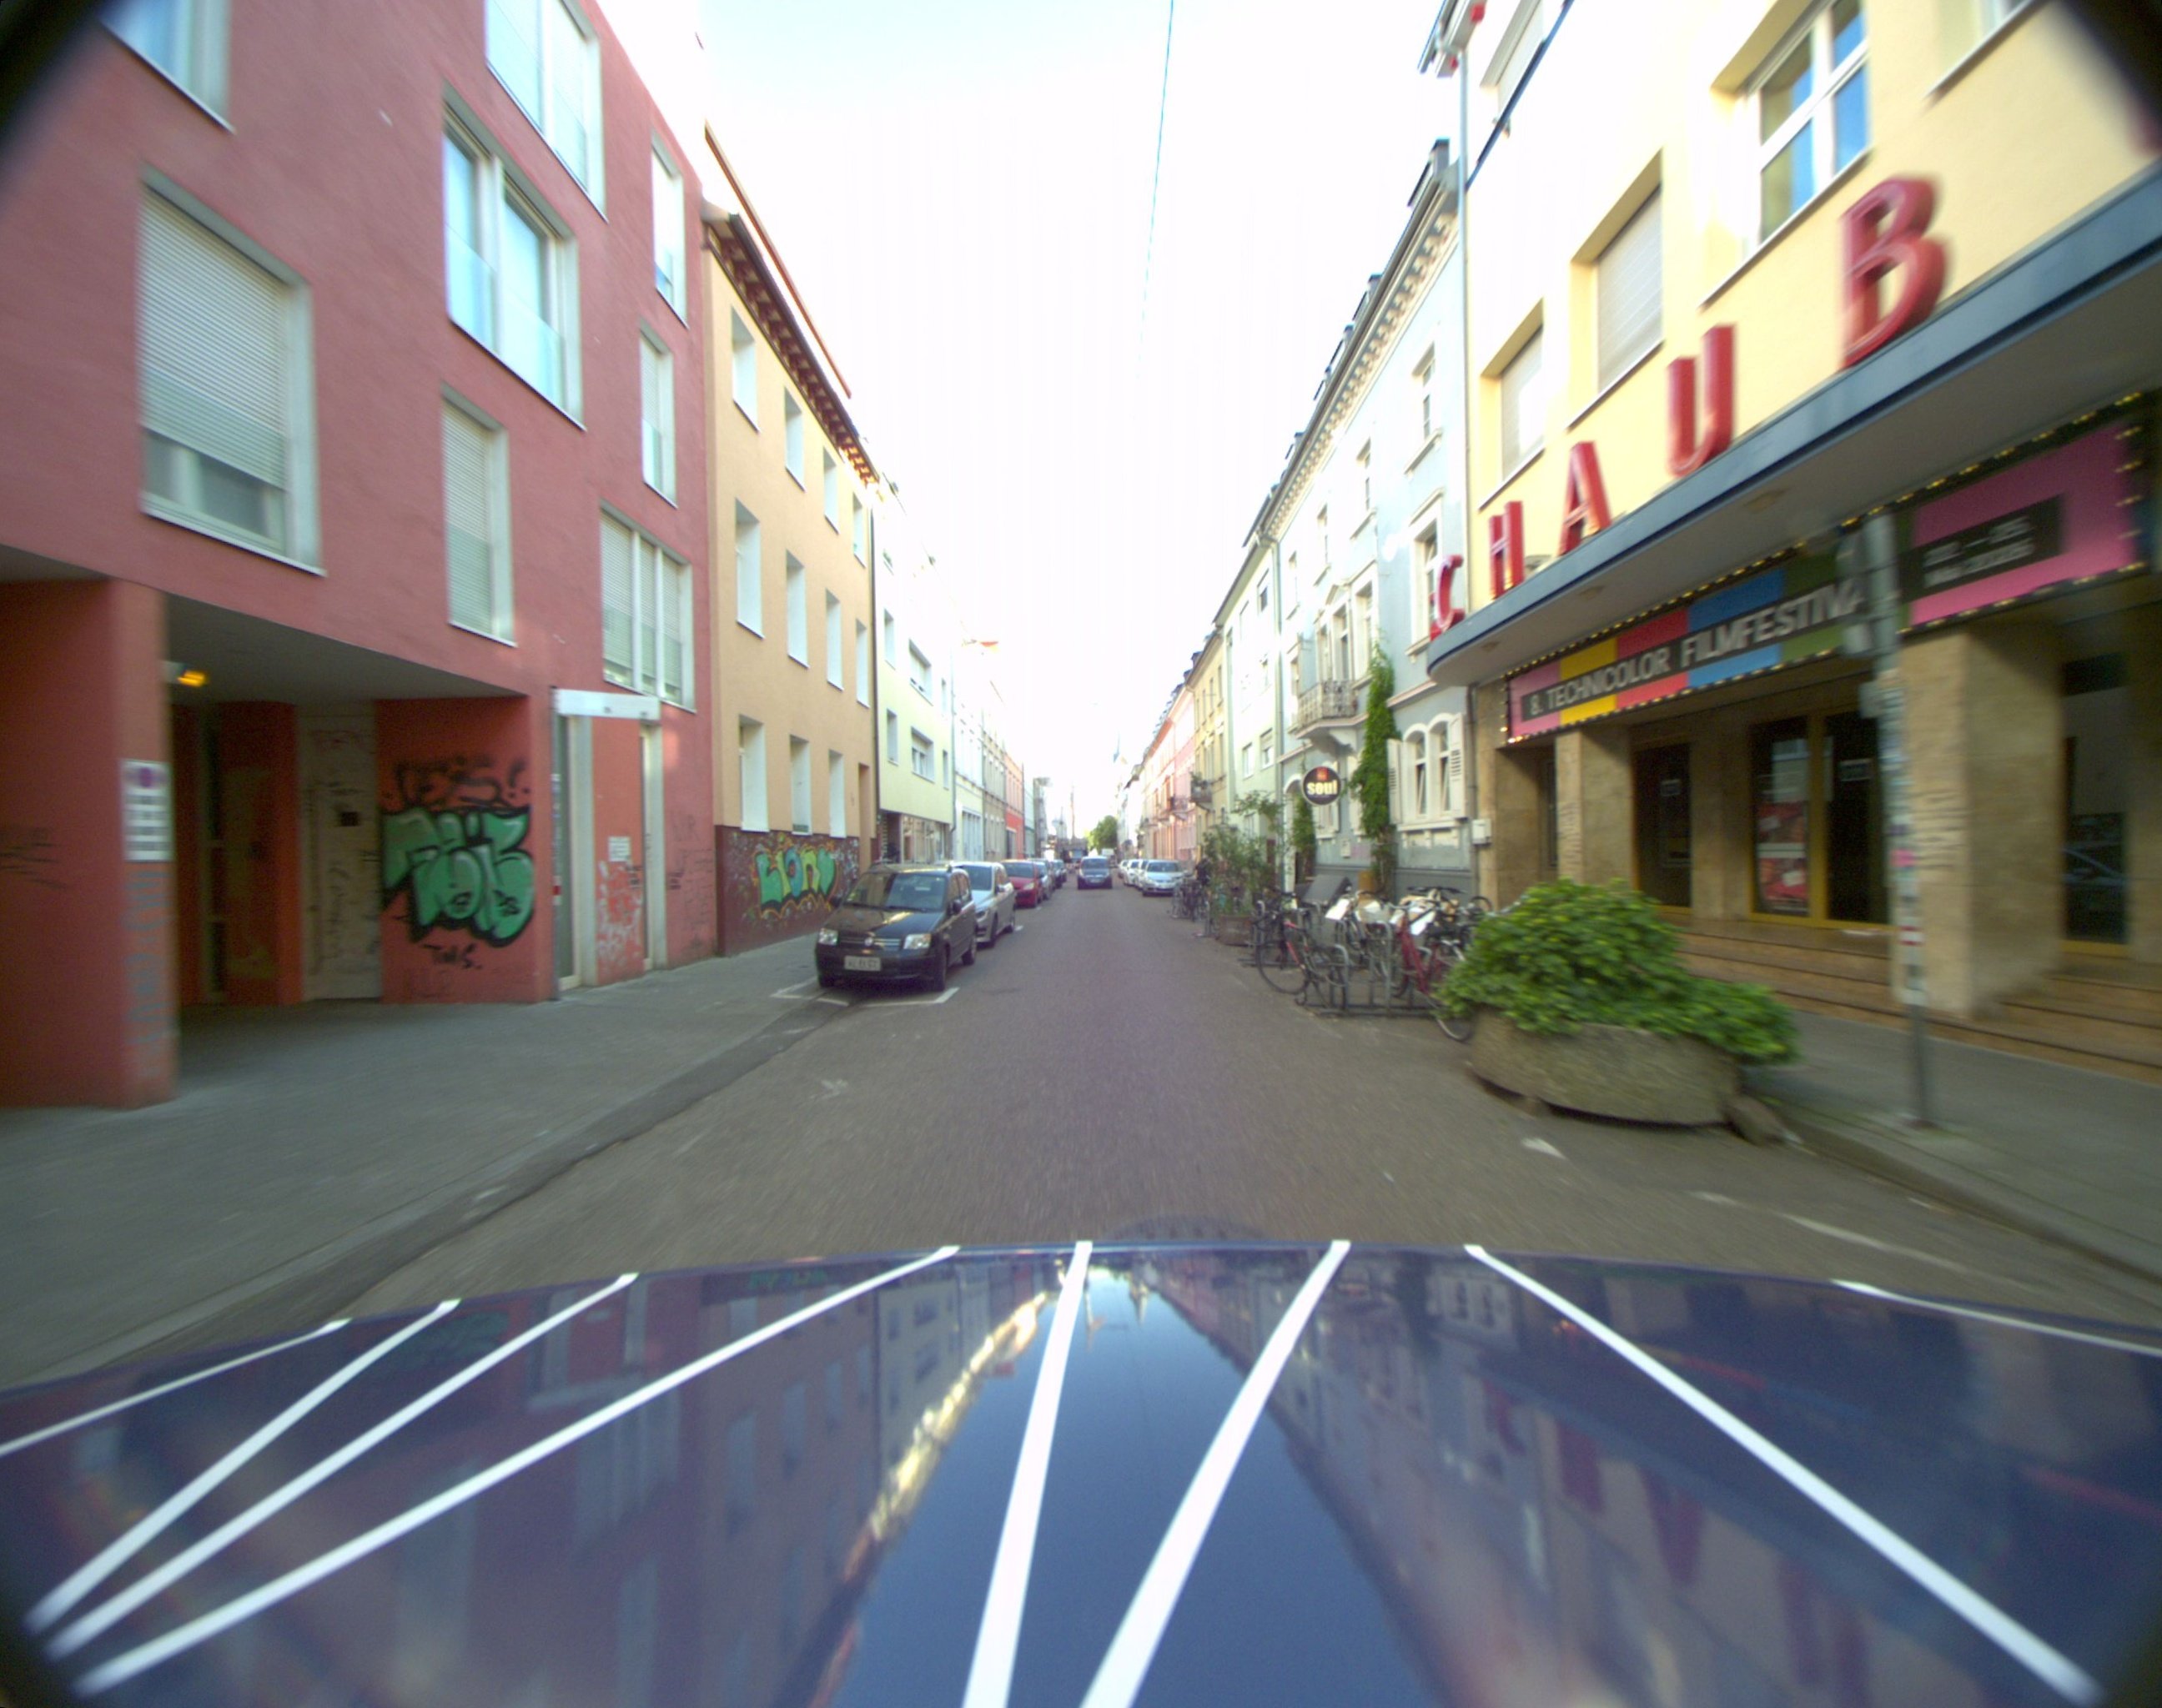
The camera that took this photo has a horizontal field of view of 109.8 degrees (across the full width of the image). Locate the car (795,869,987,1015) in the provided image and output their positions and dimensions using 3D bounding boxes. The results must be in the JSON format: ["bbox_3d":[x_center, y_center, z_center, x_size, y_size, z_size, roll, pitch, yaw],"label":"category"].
[{"bbox_3d":[-2.366,1.032,10.321,1.606,1.530,3.450,1,0,2],"label":"car"}]

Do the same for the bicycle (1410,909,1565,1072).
[{"bbox_3d":[3.618,1.153,6.918,0.400,1.167,1.669,-3,0,-3],"label":"bicycle"}]

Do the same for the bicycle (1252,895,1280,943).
[{"bbox_3d":[3.623,1.259,14.915,0.256,0.813,1.299,-2,0,2],"label":"bicycle"}]

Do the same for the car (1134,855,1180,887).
[{"bbox_3d":[3.580,0.770,36.470,1.794,1.443,4.000,-1,0,0],"label":"car"}]

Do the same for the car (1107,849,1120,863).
[{"bbox_3d":[4.850,0.313,113.855,1.998,2.002,4.258,-1,0,2],"label":"car"}]

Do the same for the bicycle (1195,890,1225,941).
[{"bbox_3d":[2.555,1.201,15.135,0.391,0.911,1.393,-1,0,2],"label":"bicycle"}]

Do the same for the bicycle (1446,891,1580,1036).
[{"bbox_3d":[4.106,0.988,7.327,0.340,1.167,1.490,-3,0,-3],"label":"bicycle"}]

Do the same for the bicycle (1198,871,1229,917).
[{"bbox_3d":[3.544,1.048,20.435,0.444,1.099,1.874,-2,0,0],"label":"bicycle"}]

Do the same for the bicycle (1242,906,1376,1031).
[{"bbox_3d":[2.327,1.126,7.976,0.462,1.041,1.748,-3,0,-15],"label":"bicycle"}]

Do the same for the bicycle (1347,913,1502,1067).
[{"bbox_3d":[3.028,1.144,6.899,0.443,1.041,1.864,-3,0,-3],"label":"bicycle"}]

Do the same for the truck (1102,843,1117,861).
[{"bbox_3d":[5.327,-0.377,142.493,2.524,3.271,6.643,-1,0,2],"label":"truck"}]

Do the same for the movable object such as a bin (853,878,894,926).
[{"bbox_3d":[-4.724,1.084,17.363,0.694,1.052,0.736,1,1,1],"label":"movable object such as a bin"}]

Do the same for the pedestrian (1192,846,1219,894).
[{"bbox_3d":[4.509,0.593,27.544,0.713,1.698,0.673,-2,1,33],"label":"pedestrian"}]

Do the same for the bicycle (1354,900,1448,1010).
[{"bbox_3d":[3.562,1.088,8.556,0.418,1.041,1.318,-3,0,-3],"label":"bicycle"}]

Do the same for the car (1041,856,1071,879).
[{"bbox_3d":[-1.667,0.869,51.442,1.831,1.474,4.464,0,0,1],"label":"car"}]

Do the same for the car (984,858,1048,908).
[{"bbox_3d":[-2.106,0.912,25.590,1.701,1.514,3.980,0,0,2],"label":"car"}]

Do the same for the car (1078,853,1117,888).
[{"bbox_3d":[0.819,0.774,37.675,1.832,1.650,4.213,-1,0,1],"label":"car"}]

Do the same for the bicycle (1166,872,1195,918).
[{"bbox_3d":[2.596,1.058,19.977,0.500,1.099,1.830,-2,0,1],"label":"bicycle"}]

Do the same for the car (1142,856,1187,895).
[{"bbox_3d":[3.353,0.830,30.976,1.684,1.446,4.035,0,0,4],"label":"car"}]

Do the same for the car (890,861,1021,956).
[{"bbox_3d":[-2.318,0.958,15.134,1.750,1.547,4.172,-1,0,2],"label":"car"}]

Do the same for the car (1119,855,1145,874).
[{"bbox_3d":[3.914,0.798,58.789,1.771,1.335,4.380,0,0,0],"label":"car"}]

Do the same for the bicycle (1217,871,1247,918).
[{"bbox_3d":[3.932,1.036,19.872,0.444,1.099,1.698,-2,0,1],"label":"bicycle"}]

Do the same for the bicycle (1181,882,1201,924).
[{"bbox_3d":[2.649,1.165,18.380,0.322,0.911,1.290,-1,0,2],"label":"bicycle"}]

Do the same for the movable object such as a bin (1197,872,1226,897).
[{"bbox_3d":[4.825,1.125,28.034,0.845,0.892,0.587,-2,1,34],"label":"movable object such as a bin"}]

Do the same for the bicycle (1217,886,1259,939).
[{"bbox_3d":[3.170,1.166,15.475,0.555,0.938,1.571,-1,0,2],"label":"bicycle"}]

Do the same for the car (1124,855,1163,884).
[{"bbox_3d":[3.363,0.809,41.485,1.792,1.454,4.200,0,0,0],"label":"car"}]

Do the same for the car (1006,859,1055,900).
[{"bbox_3d":[-1.949,0.965,30.166,1.692,1.444,4.193,0,0,0],"label":"car"}]

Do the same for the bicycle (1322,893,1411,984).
[{"bbox_3d":[3.769,1.084,10.137,0.575,1.039,1.409,-2,0,-3],"label":"bicycle"}]

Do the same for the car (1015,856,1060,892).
[{"bbox_3d":[-1.964,0.880,35.685,1.794,1.542,4.000,-1,0,1],"label":"car"}]

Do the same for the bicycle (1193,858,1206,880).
[{"bbox_3d":[6.273,0.774,40.210,0.418,1.095,1.494,-2,0,1],"label":"bicycle"}]

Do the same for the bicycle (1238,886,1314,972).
[{"bbox_3d":[2.906,1.077,11.497,0.547,1.088,1.881,-3,0,-3],"label":"bicycle"}]

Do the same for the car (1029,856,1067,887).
[{"bbox_3d":[-1.739,0.899,41.207,1.766,1.513,4.380,-2,0,1],"label":"car"}]

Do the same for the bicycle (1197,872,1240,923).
[{"bbox_3d":[3.286,1.026,18.217,0.815,1.168,0.920,-2,1,-1],"label":"bicycle"}]

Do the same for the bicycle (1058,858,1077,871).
[{"bbox_3d":[-1.248,0.937,70.076,1.713,1.130,0.470,-3,1,-10],"label":"bicycle"}]

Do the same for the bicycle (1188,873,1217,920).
[{"bbox_3d":[3.186,1.083,20.002,0.444,1.099,1.932,-2,0,1],"label":"bicycle"}]

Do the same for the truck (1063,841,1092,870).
[{"bbox_3d":[-0.320,0.169,80.369,2.819,2.735,7.678,-3,0,0],"label":"truck"}]

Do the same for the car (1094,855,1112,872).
[{"bbox_3d":[2.084,0.923,72.156,1.644,1.528,3.842,-1,0,1],"label":"car"}]
